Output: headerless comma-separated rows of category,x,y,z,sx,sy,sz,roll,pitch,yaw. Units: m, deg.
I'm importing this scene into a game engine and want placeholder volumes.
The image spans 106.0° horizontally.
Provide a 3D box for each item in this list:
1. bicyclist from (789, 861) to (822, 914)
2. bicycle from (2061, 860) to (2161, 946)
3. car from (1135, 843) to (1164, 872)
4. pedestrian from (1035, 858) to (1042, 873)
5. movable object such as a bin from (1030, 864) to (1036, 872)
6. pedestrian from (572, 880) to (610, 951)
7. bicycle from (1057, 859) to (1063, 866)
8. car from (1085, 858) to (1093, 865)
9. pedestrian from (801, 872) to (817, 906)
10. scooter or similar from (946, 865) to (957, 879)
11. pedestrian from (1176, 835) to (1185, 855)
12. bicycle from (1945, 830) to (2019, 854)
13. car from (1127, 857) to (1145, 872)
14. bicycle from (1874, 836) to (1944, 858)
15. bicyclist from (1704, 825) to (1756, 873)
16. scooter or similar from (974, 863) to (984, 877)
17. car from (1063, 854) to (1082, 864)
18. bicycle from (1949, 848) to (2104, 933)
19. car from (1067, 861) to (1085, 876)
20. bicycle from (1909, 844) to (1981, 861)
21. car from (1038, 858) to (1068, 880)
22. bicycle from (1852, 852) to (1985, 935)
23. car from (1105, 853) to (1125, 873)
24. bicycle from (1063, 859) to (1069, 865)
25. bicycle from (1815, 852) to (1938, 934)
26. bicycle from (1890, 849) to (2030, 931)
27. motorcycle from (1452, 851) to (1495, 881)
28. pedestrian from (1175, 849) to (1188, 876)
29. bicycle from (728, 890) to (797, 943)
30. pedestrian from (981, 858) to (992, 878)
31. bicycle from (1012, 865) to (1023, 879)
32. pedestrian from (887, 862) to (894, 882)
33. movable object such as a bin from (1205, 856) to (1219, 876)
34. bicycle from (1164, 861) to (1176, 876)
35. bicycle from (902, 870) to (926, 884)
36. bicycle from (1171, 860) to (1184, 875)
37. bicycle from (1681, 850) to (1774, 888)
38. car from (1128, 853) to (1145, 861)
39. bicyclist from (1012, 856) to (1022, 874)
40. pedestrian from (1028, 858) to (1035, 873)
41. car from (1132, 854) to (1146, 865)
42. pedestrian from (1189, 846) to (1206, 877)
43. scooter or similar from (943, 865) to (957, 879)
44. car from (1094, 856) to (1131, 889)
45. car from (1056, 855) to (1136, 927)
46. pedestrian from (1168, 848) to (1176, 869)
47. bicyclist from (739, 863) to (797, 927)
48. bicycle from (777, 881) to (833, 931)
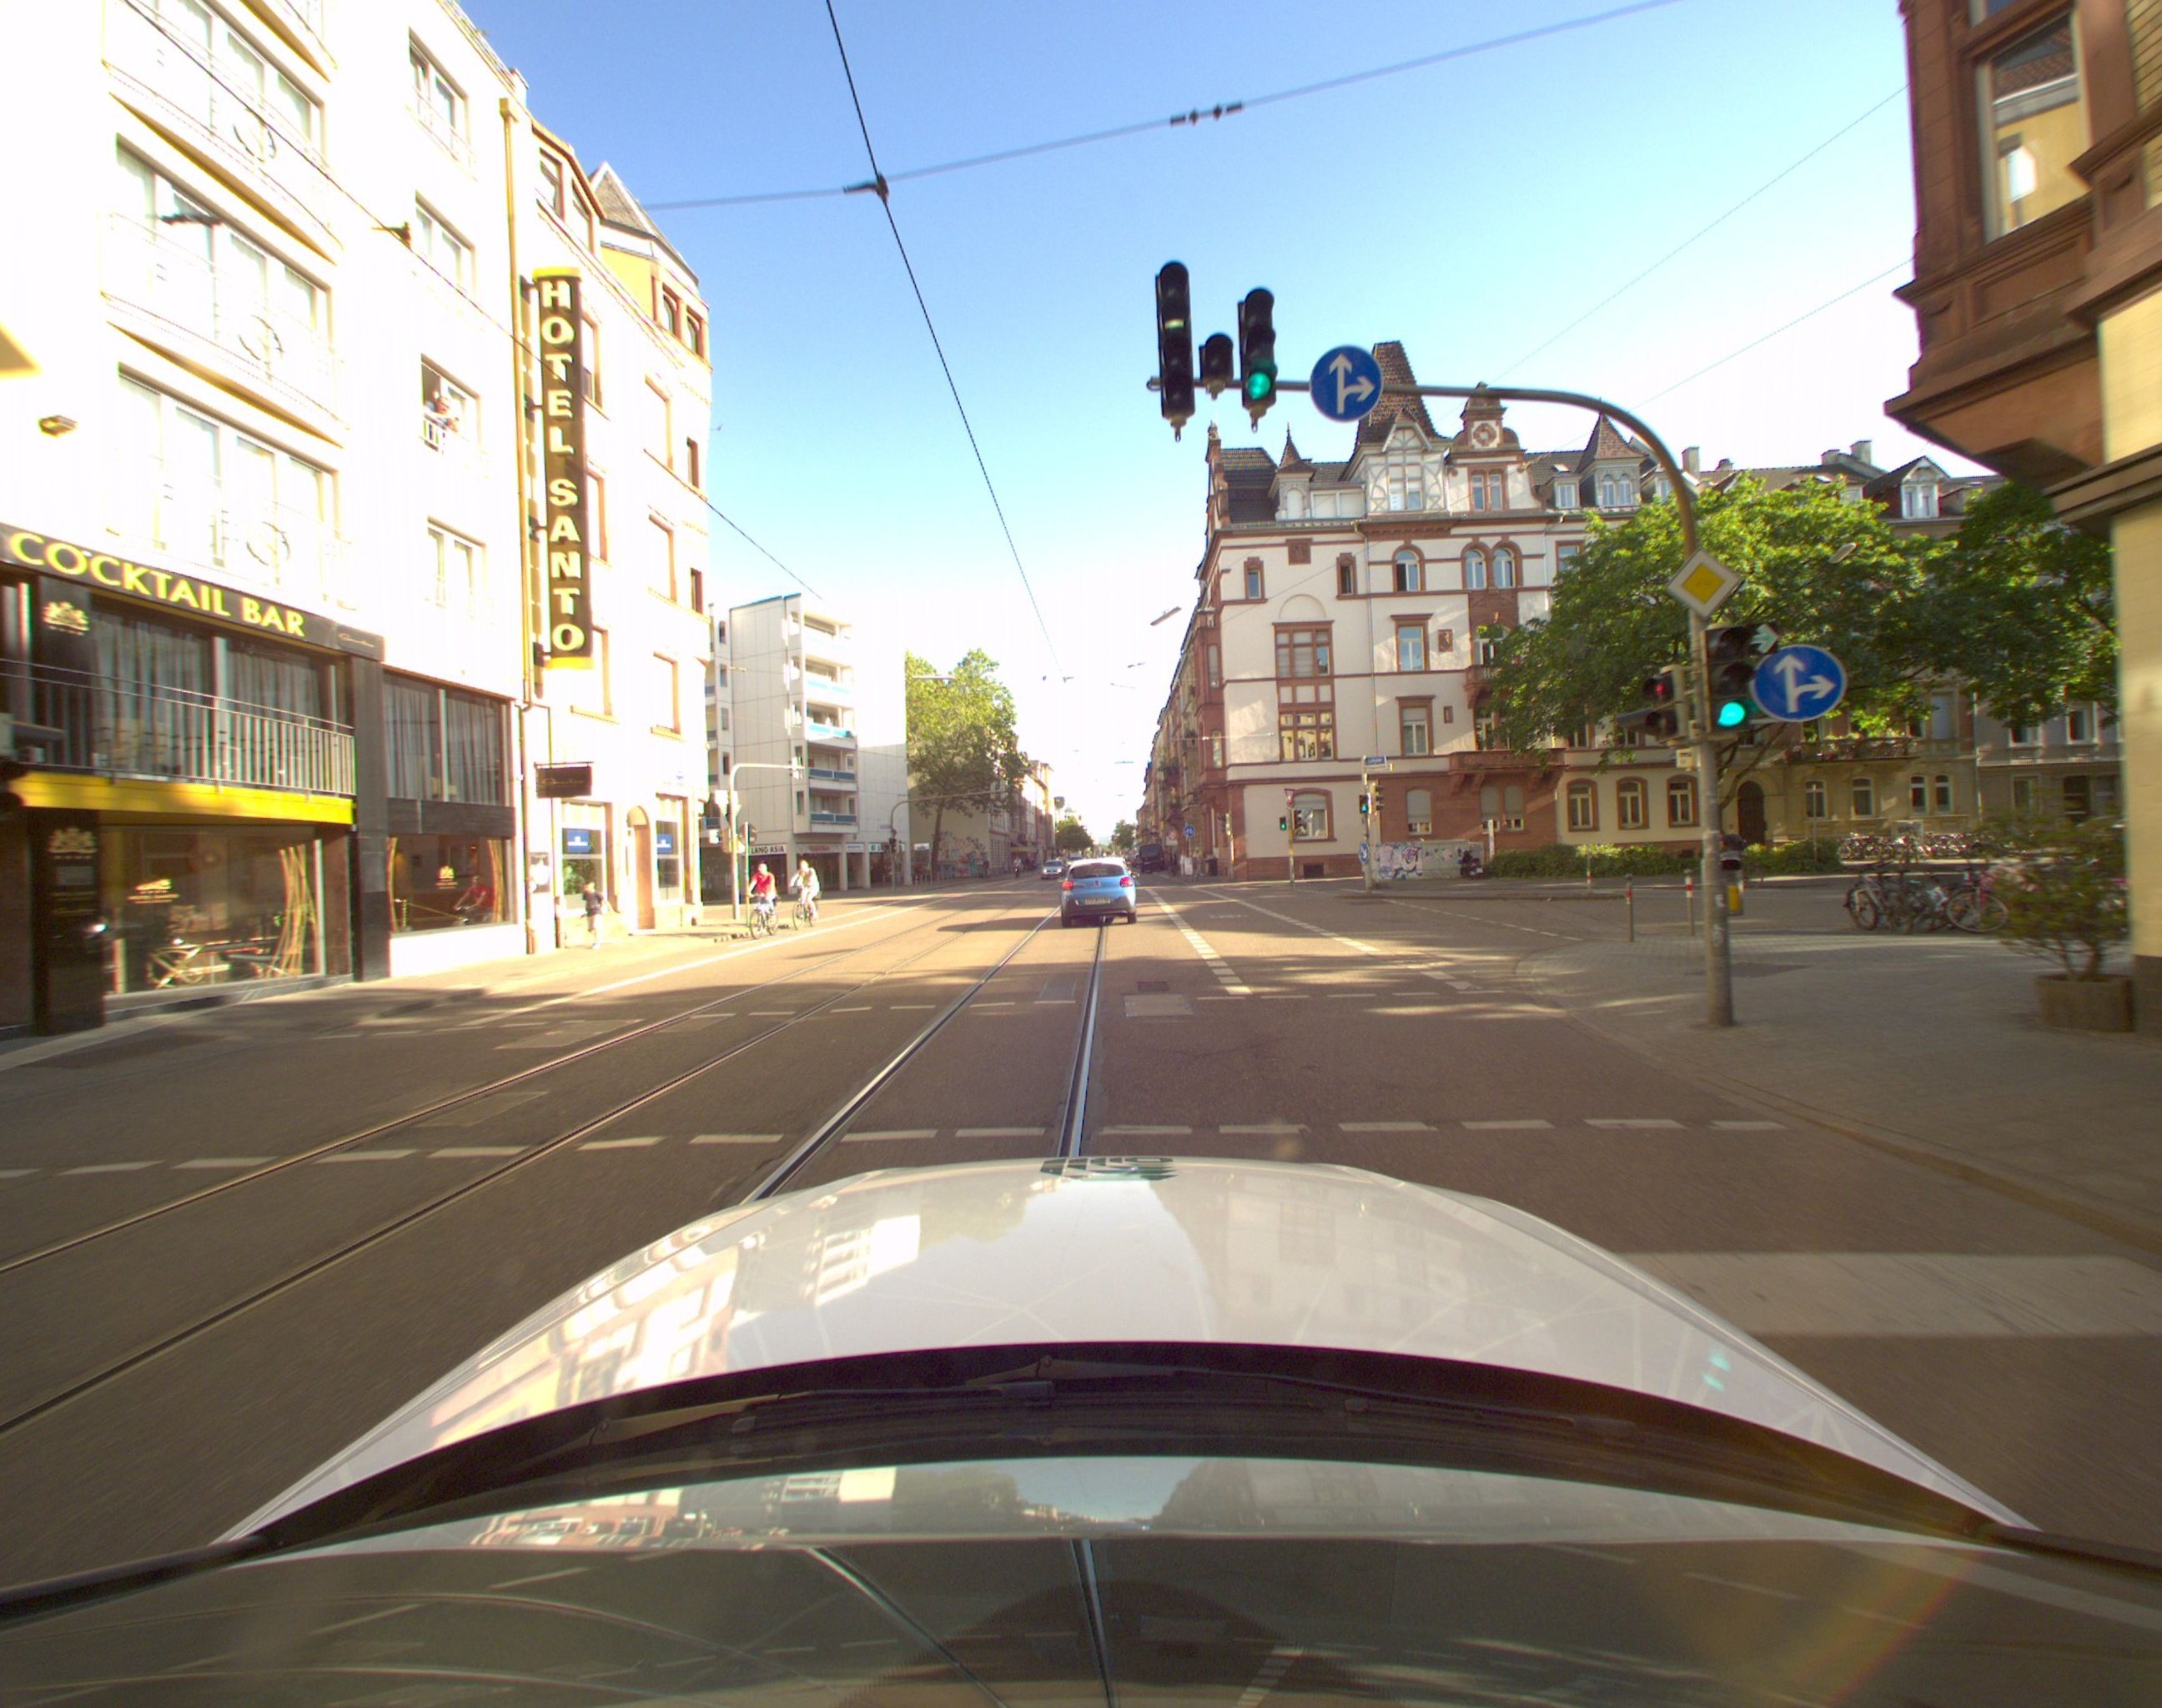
bicyclist,-7.349,0.894,21.766,0.588,1.376,0.679,-2,0,0
bicycle,14.935,0.658,11.408,0.610,1.143,2.132,-3,-2,24
car,6.223,0.316,74.476,2.263,2.436,5.722,-2,0,2
pedestrian,-5.140,1.328,97.680,0.709,1.764,0.653,-3,0,-7
movable object such as a bin,-5.819,1.727,97.905,0.608,0.914,0.695,-3,0,2
pedestrian,-10.009,1.250,16.650,0.402,1.410,0.516,-2,-1,0
bicycle,-4.332,1.762,166.450,1.118,1.319,3.639,-3,0,-3
car,2.063,1.841,210.107,1.986,1.651,4.001,-3,0,1
pedestrian,-12.910,1.642,38.642,0.541,1.552,0.516,-2,-1,0
scooter or similar,-11.805,1.634,74.488,0.937,1.222,0.765,-2,-1,-10
pedestrian,8.979,-0.800,73.556,0.551,1.782,0.606,-5,-1,0
bicycle,39.340,-0.556,35.600,1.007,0.887,2.166,-3,4,8
car,6.785,1.263,101.610,1.998,1.672,4.808,-3,0,2
bicycle,36.330,-0.293,35.784,1.007,0.872,2.165,-2,0,8
bicyclist,19.003,-0.159,23.862,1.120,1.343,0.843,-3,0,38
scooter or similar,-9.379,1.455,74.788,0.785,1.271,1.075,0,1,1
car,-2.296,1.279,215.080,4.328,2.581,2.192,-2,0,-24
bicycle,13.993,0.529,12.143,0.610,1.143,2.132,-3,-2,24
car,-0.594,1.766,100.406,1.987,1.744,4.563,-2,0,1
bicycle,37.693,-0.062,35.578,1.008,0.650,2.165,-2,0,7
car,-2.120,1.112,62.117,1.978,1.502,4.309,-3,0,1
bicycle,12.607,0.566,12.350,0.610,1.143,2.132,-3,-1,24
car,3.632,0.982,88.538,1.987,2.013,4.001,-3,0,1
bicycle,-3.036,1.707,166.631,1.118,1.146,3.639,-3,0,-3
bicycle,12.203,0.574,12.577,0.610,1.143,2.132,-3,-2,24
bicycle,13.297,0.532,12.408,0.610,1.143,2.132,-3,-2,24
motorcycle,15.890,0.448,33.056,0.609,1.124,2.391,-2,1,1
pedestrian,6.391,0.542,51.650,0.626,1.701,0.681,-2,0,-7
bicycle,-7.355,1.423,18.935,0.728,1.065,2.062,-2,0,1
pedestrian,-8.513,1.281,73.284,0.678,1.765,1.029,-2,-1,12
bicycle,-5.336,1.474,68.593,0.690,1.120,2.084,-3,0,1
pedestrian,-17.129,1.613,73.203,0.454,1.718,0.547,-3,0,1
movable object such as a bin,7.782,0.689,48.444,0.664,1.153,0.594,-2,-1,0
bicycle,5.908,0.949,54.058,0.430,0.947,1.760,-2,0,-5
bicycle,-13.767,1.902,67.061,1.898,1.034,0.669,-2,-1,28
bicycle,6.396,0.895,54.102,0.430,0.947,1.760,-2,0,-5
bicycle,18.959,0.438,23.925,2.070,1.045,0.853,-2,-1,38
car,12.975,0.649,191.294,3.824,1.618,1.791,-3,0,-1
bicyclist,-5.373,0.914,68.456,0.680,1.483,0.779,-2,0,1
pedestrian,-5.870,1.354,97.178,0.708,1.764,0.570,-3,0,0
car,8.921,0.841,125.879,1.997,1.672,4.395,-2,0,4
pedestrian,7.145,0.452,50.135,0.703,1.782,0.673,-8,0,0
scooter or similar,-11.800,1.614,73.485,1.228,1.258,0.765,-2,-1,-11
car,1.510,0.863,39.811,1.661,1.478,4.001,-3,0,1
car,0.442,0.801,19.557,1.667,1.477,4.003,-2,0,3
pedestrian,8.532,0.425,76.710,0.583,2.013,0.823,-2,-1,1
bicyclist,-7.238,0.926,18.899,0.733,1.381,1.468,-2,0,1
bicycle,-7.339,1.349,21.767,0.728,1.183,2.062,-2,0,1
